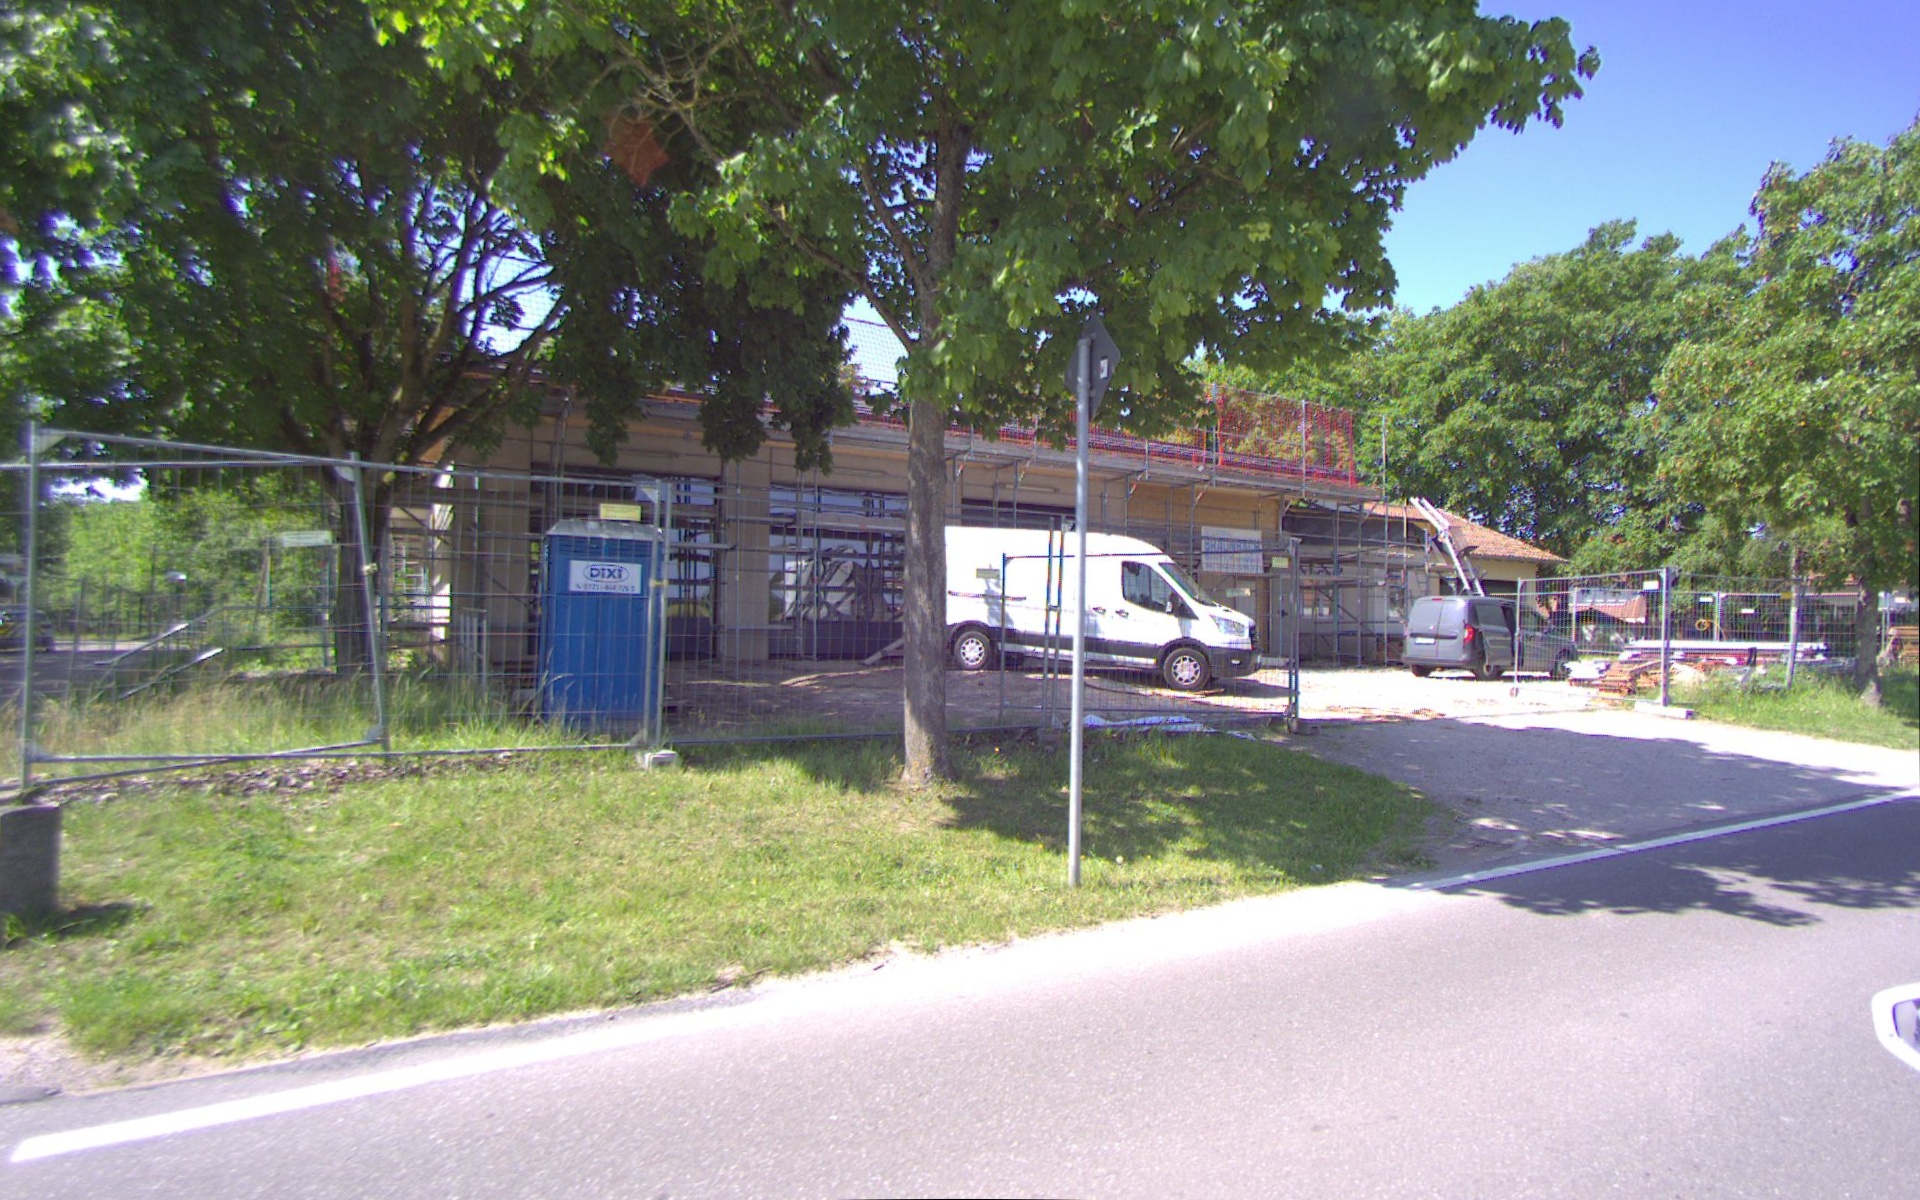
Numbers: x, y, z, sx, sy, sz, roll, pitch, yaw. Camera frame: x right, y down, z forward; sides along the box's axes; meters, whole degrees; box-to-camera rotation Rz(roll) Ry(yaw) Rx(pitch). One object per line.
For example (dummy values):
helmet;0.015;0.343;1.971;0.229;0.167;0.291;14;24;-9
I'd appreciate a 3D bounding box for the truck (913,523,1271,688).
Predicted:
truck;2.241;0.091;17.408;5.819;2.516;1.999;0;-1;24

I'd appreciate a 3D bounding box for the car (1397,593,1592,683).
car;12.140;0.843;22.777;4.277;1.862;1.961;1;-1;-30

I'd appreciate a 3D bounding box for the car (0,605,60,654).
car;-35.359;1.128;37.889;3.696;1.773;1.658;-1;-2;42
